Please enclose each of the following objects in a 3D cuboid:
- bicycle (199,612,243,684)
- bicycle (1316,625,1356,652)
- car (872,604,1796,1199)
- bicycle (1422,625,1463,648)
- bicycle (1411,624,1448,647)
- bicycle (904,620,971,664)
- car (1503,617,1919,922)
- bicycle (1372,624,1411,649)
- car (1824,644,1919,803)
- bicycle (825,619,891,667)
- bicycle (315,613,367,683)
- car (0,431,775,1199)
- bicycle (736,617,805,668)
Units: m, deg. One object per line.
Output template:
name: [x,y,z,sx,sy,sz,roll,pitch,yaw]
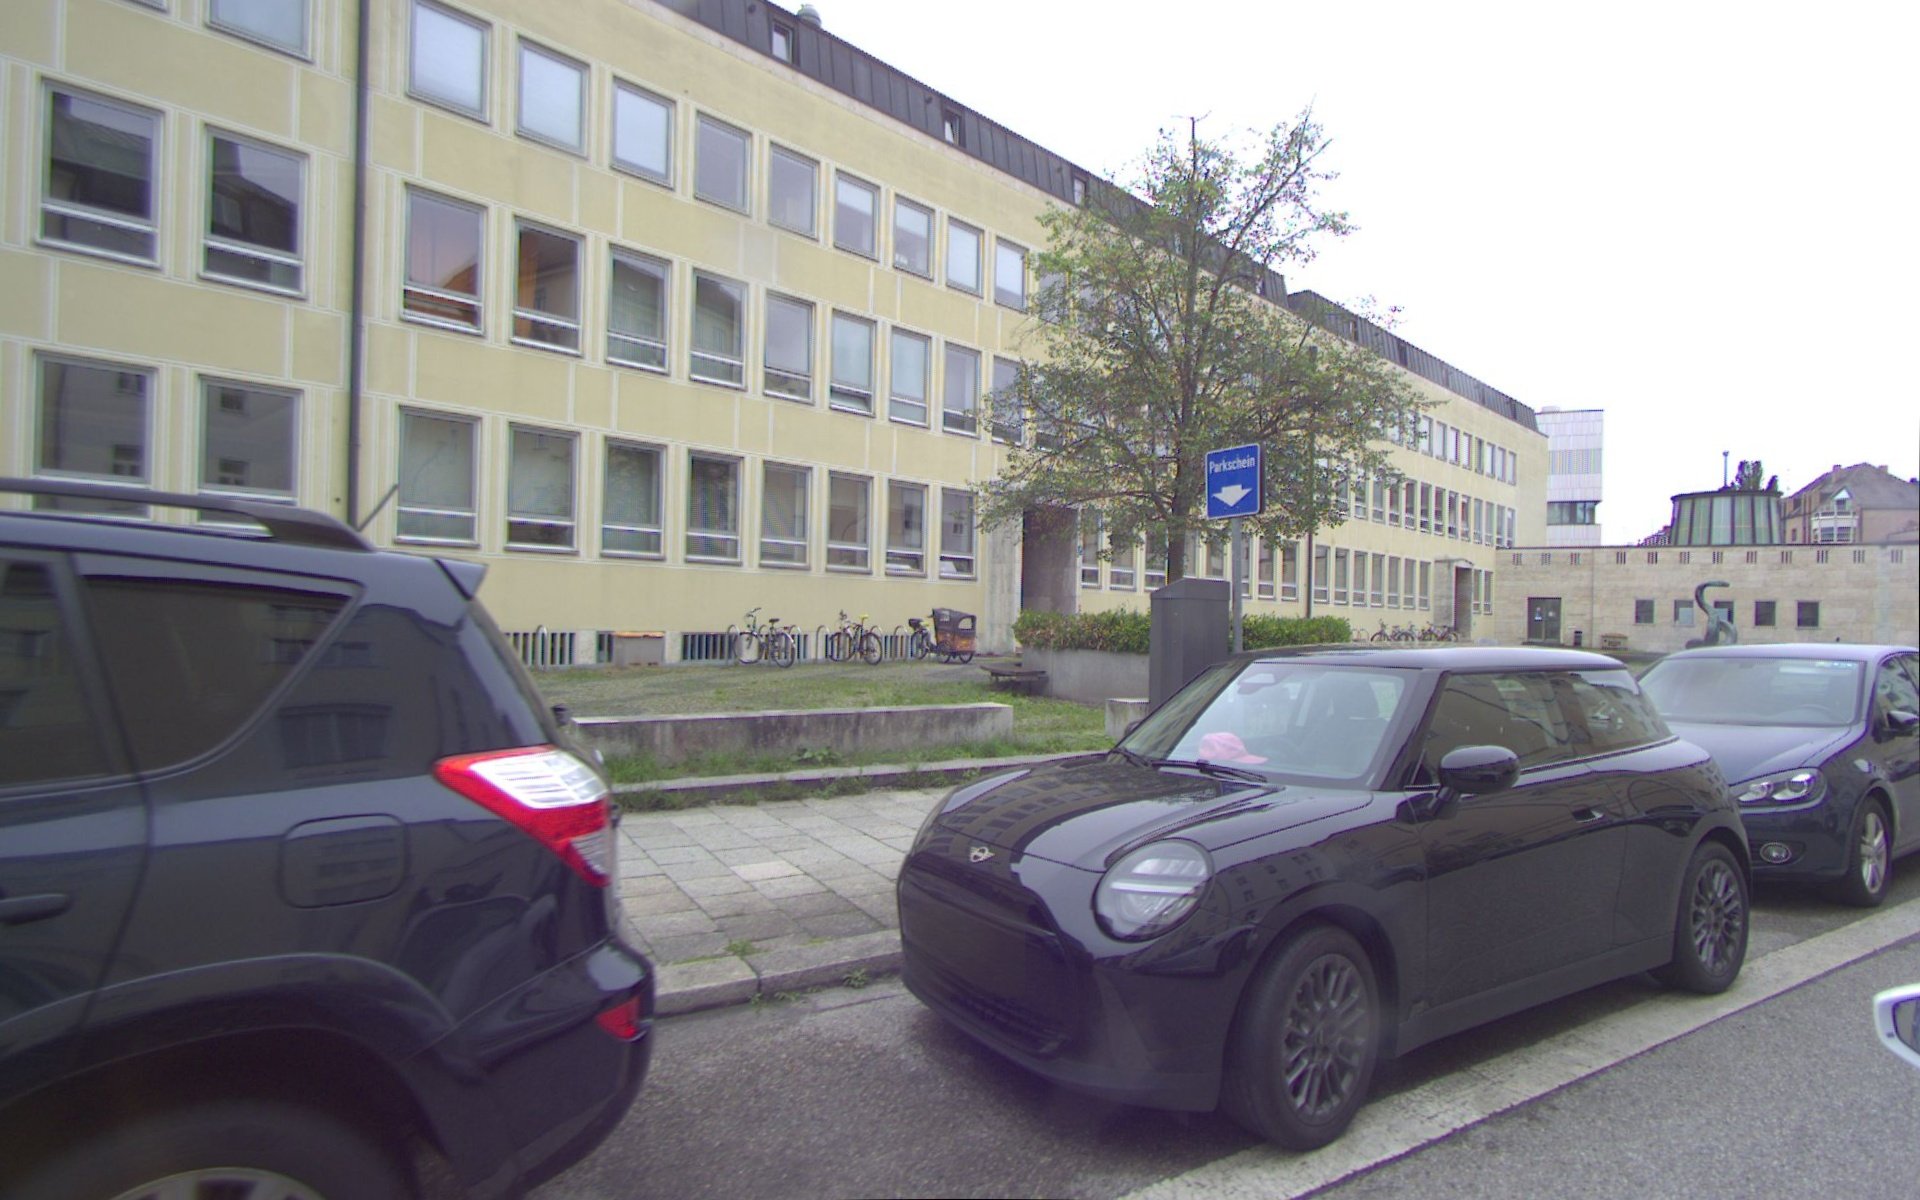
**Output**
bicycle: [-10.720,0.675,14.584,0.410,0.957,1.398,1,1,-33]
bicycle: [14.750,1.493,39.389,1.391,0.957,0.412,2,1,43]
car: [1.685,0.834,4.191,3.776,1.514,1.623,2,-2,-31]
bicycle: [22.608,1.709,47.088,1.688,0.957,0.412,2,1,43]
bicycle: [21.564,1.629,46.136,1.455,0.957,0.412,2,1,43]
bicycle: [-0.536,0.988,23.860,1.583,0.957,0.501,2,1,36]
car: [5.643,0.922,6.902,4.057,1.514,1.621,2,0,-33]
bicycle: [18.645,1.570,43.430,1.455,0.957,0.412,2,1,43]
car: [10.608,1.172,10.171,4.249,1.441,1.731,2,-2,-34]
bicycle: [-2.265,0.935,22.247,1.585,0.957,0.501,2,1,42]
bicycle: [-9.376,0.706,15.198,0.411,0.957,1.394,1,1,-42]
car: [-2.553,0.620,1.691,4.093,1.712,1.706,1,-2,-31]
bicycle: [-3.917,0.861,20.714,1.585,0.957,0.501,2,1,42]
